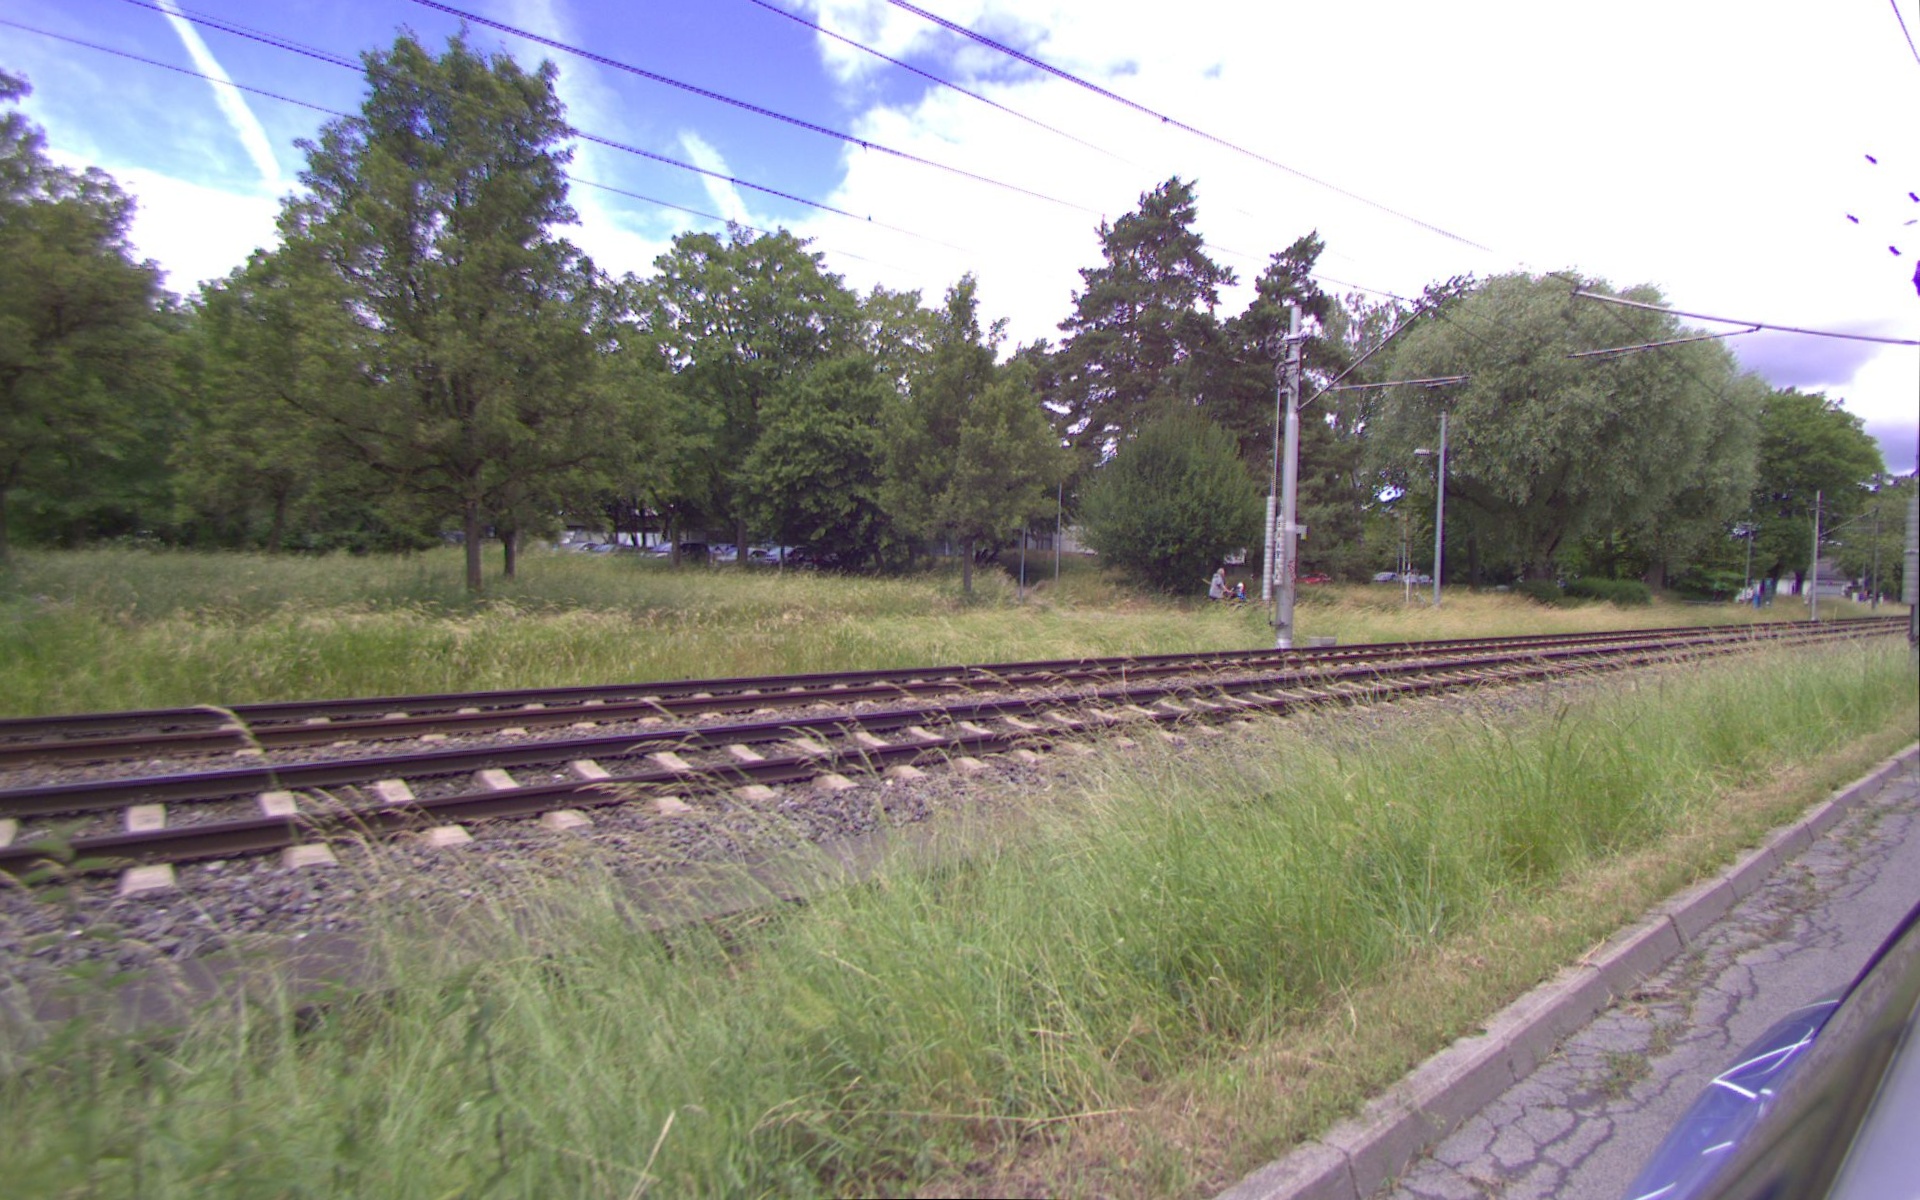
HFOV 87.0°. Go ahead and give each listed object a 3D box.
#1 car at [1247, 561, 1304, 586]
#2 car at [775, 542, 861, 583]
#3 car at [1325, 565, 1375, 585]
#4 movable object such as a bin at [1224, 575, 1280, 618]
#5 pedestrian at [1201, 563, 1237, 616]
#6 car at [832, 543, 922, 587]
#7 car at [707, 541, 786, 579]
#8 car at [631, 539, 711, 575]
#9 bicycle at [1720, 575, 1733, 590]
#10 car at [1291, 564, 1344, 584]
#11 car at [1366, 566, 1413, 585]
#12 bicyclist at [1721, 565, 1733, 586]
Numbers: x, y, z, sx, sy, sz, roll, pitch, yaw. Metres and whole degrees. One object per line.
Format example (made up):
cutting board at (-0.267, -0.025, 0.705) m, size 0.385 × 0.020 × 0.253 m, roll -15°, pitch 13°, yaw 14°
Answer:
car at (22.596, -1.873, 72.467) m, size 4.154 × 1.721 × 1.998 m, roll 0°, pitch 1°, yaw -40°
car at (-6.659, -1.731, 47.817) m, size 1.740 × 1.826 × 3.947 m, roll 2°, pitch 2°, yaw 37°
car at (30.449, -1.935, 79.050) m, size 3.929 × 1.460 × 1.998 m, roll 0°, pitch 2°, yaw -40°
movable object such as a bin at (9.550, -0.115, 33.165) m, size 1.612 × 1.326 × 0.660 m, roll 1°, pitch 2°, yaw 1°
pedestrian at (8.507, -0.363, 33.263) m, size 0.940 × 1.687 × 0.658 m, roll 1°, pitch 2°, yaw 1°
car at (-3.579, -1.515, 44.295) m, size 1.740 × 1.826 × 3.947 m, roll 2°, pitch 2°, yaw 37°
car at (-10.799, -2.021, 51.440) m, size 1.979 × 1.834 × 3.967 m, roll 2°, pitch 2°, yaw 24°
car at (-15.287, -2.255, 53.766) m, size 1.979 × 1.834 × 3.967 m, roll 2°, pitch 2°, yaw 24°
bicycle at (65.282, -1.467, 86.183) m, size 1.897 × 1.261 × 0.581 m, roll 0°, pitch 2°, yaw -44°
car at (26.889, -1.948, 76.082) m, size 3.929 × 1.460 × 1.998 m, roll 0°, pitch 2°, yaw -40°
car at (35.459, -2.008, 83.461) m, size 3.929 × 1.460 × 1.998 m, roll 0°, pitch 2°, yaw -40°
bicyclist at (65.355, -2.098, 86.233) m, size 0.920 × 1.717 × 0.581 m, roll 0°, pitch 2°, yaw -44°
